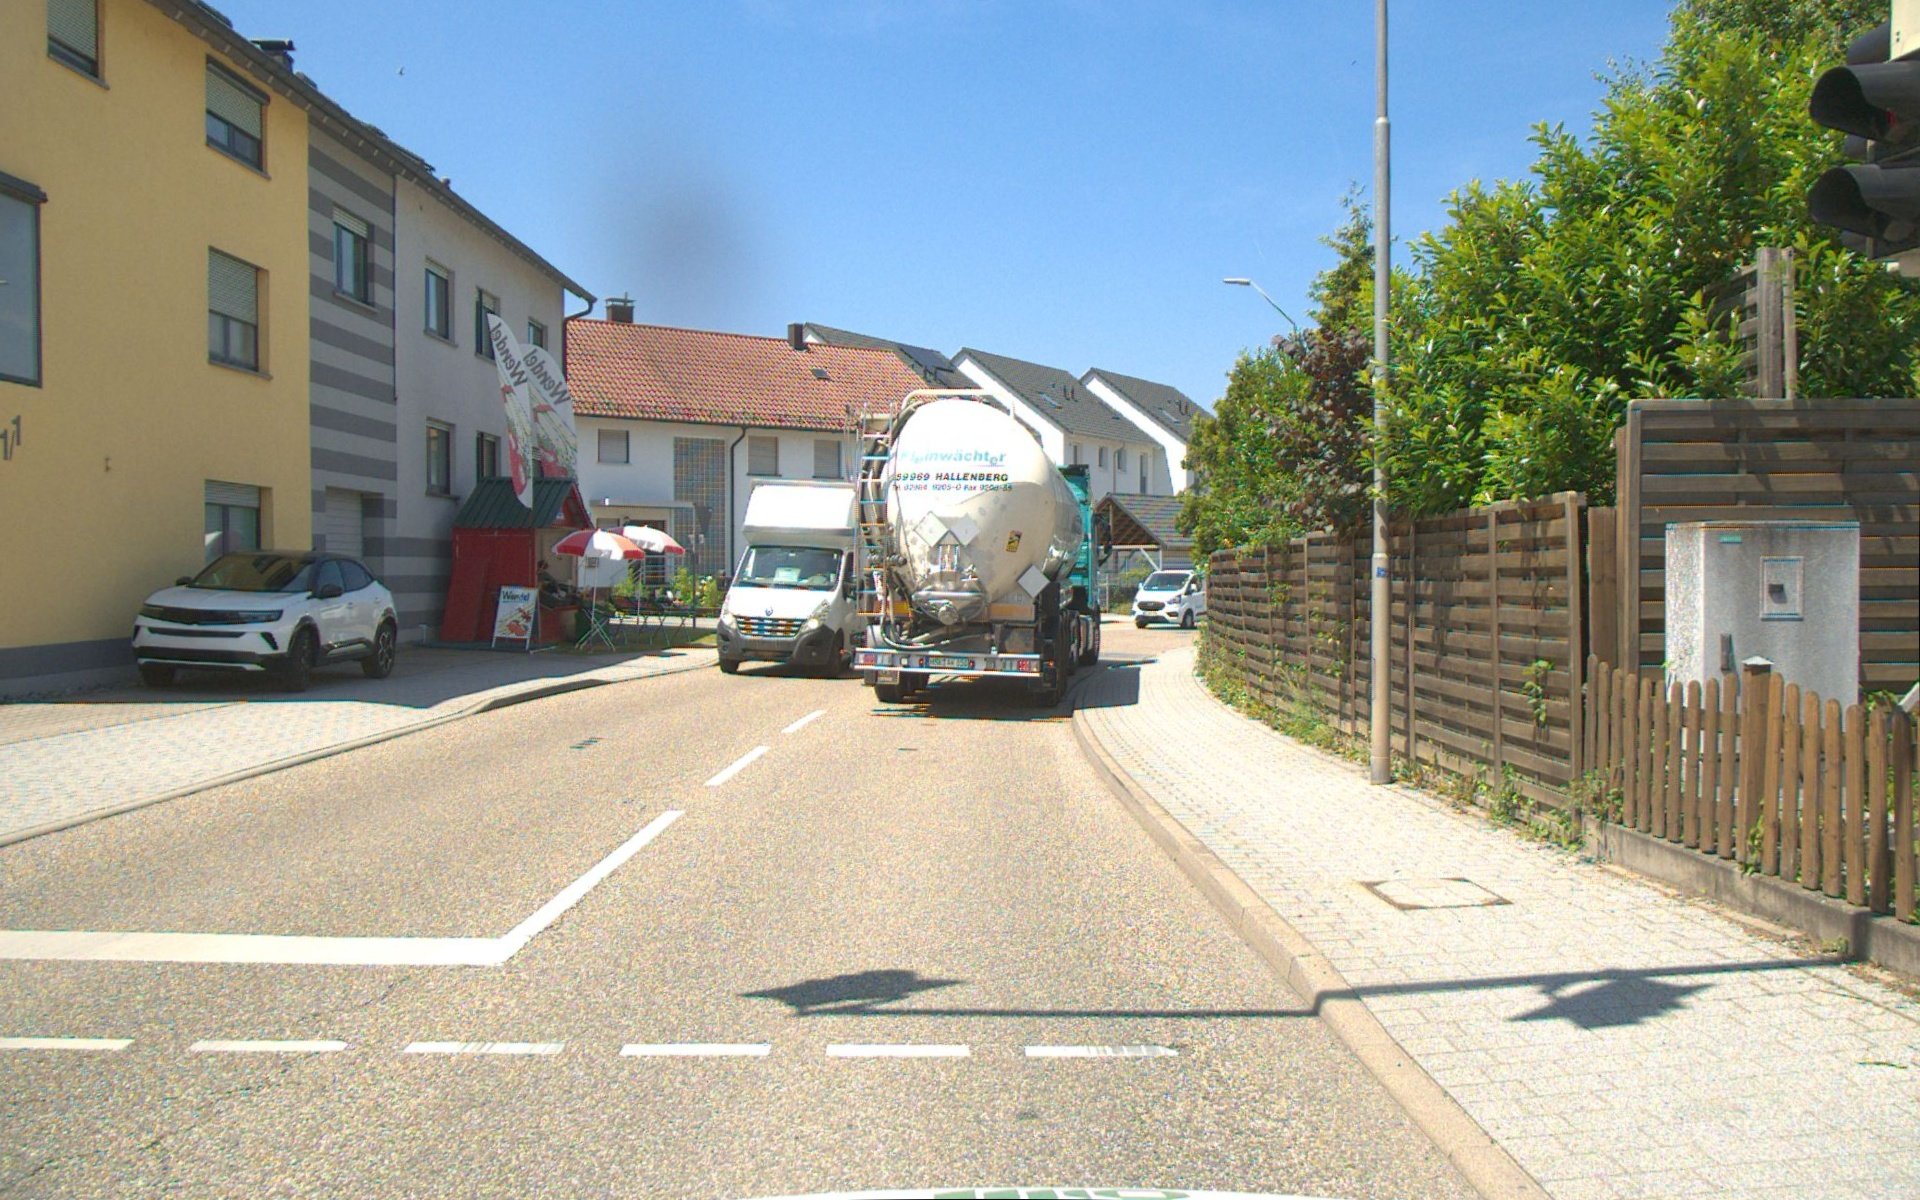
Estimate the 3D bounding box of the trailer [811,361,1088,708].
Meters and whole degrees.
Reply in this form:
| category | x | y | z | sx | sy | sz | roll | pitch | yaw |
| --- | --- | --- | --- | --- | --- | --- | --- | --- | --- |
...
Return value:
| category | x | y | z | sx | sy | sz | roll | pitch | yaw |
| --- | --- | --- | --- | --- | --- | --- | --- | --- | --- |
| trailer | 0.319 | -0.843 | 25.100 | 2.890 | 4.016 | 11.628 | -1 | 1 | 6 |

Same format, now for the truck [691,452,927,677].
| category | x | y | z | sx | sy | sz | roll | pitch | yaw |
| --- | --- | --- | --- | --- | --- | --- | --- | --- | --- |
| truck | -2.471 | -0.617 | 29.845 | 2.414 | 3.425 | 7.623 | 3 | 1 | 8 |

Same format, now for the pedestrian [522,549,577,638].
| category | x | y | z | sx | sy | sz | roll | pitch | yaw |
| --- | --- | --- | --- | --- | --- | --- | --- | --- | --- |
| pedestrian | -7.632 | -0.127 | 30.742 | 0.600 | 1.615 | 0.806 | 1 | 0 | 33 |

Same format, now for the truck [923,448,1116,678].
| category | x | y | z | sx | sy | sz | roll | pitch | yaw |
| --- | --- | --- | --- | --- | --- | --- | --- | --- | --- |
| truck | 1.331 | -0.710 | 32.983 | 2.924 | 4.033 | 5.584 | -3 | 1 | 10 |

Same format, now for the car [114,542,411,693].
| category | x | y | z | sx | sy | sz | roll | pitch | yaw |
| --- | --- | --- | --- | --- | --- | --- | --- | --- | --- |
| car | -8.074 | 0.158 | 19.587 | 1.694 | 1.579 | 4.189 | 1 | 1 | 1 |

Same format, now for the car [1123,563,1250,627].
| category | x | y | z | sx | sy | sz | roll | pitch | yaw |
| --- | --- | --- | --- | --- | --- | --- | --- | --- | --- |
| car | 7.911 | -0.208 | 57.468 | 1.963 | 2.034 | 5.189 | 3 | 3 | 39 |
